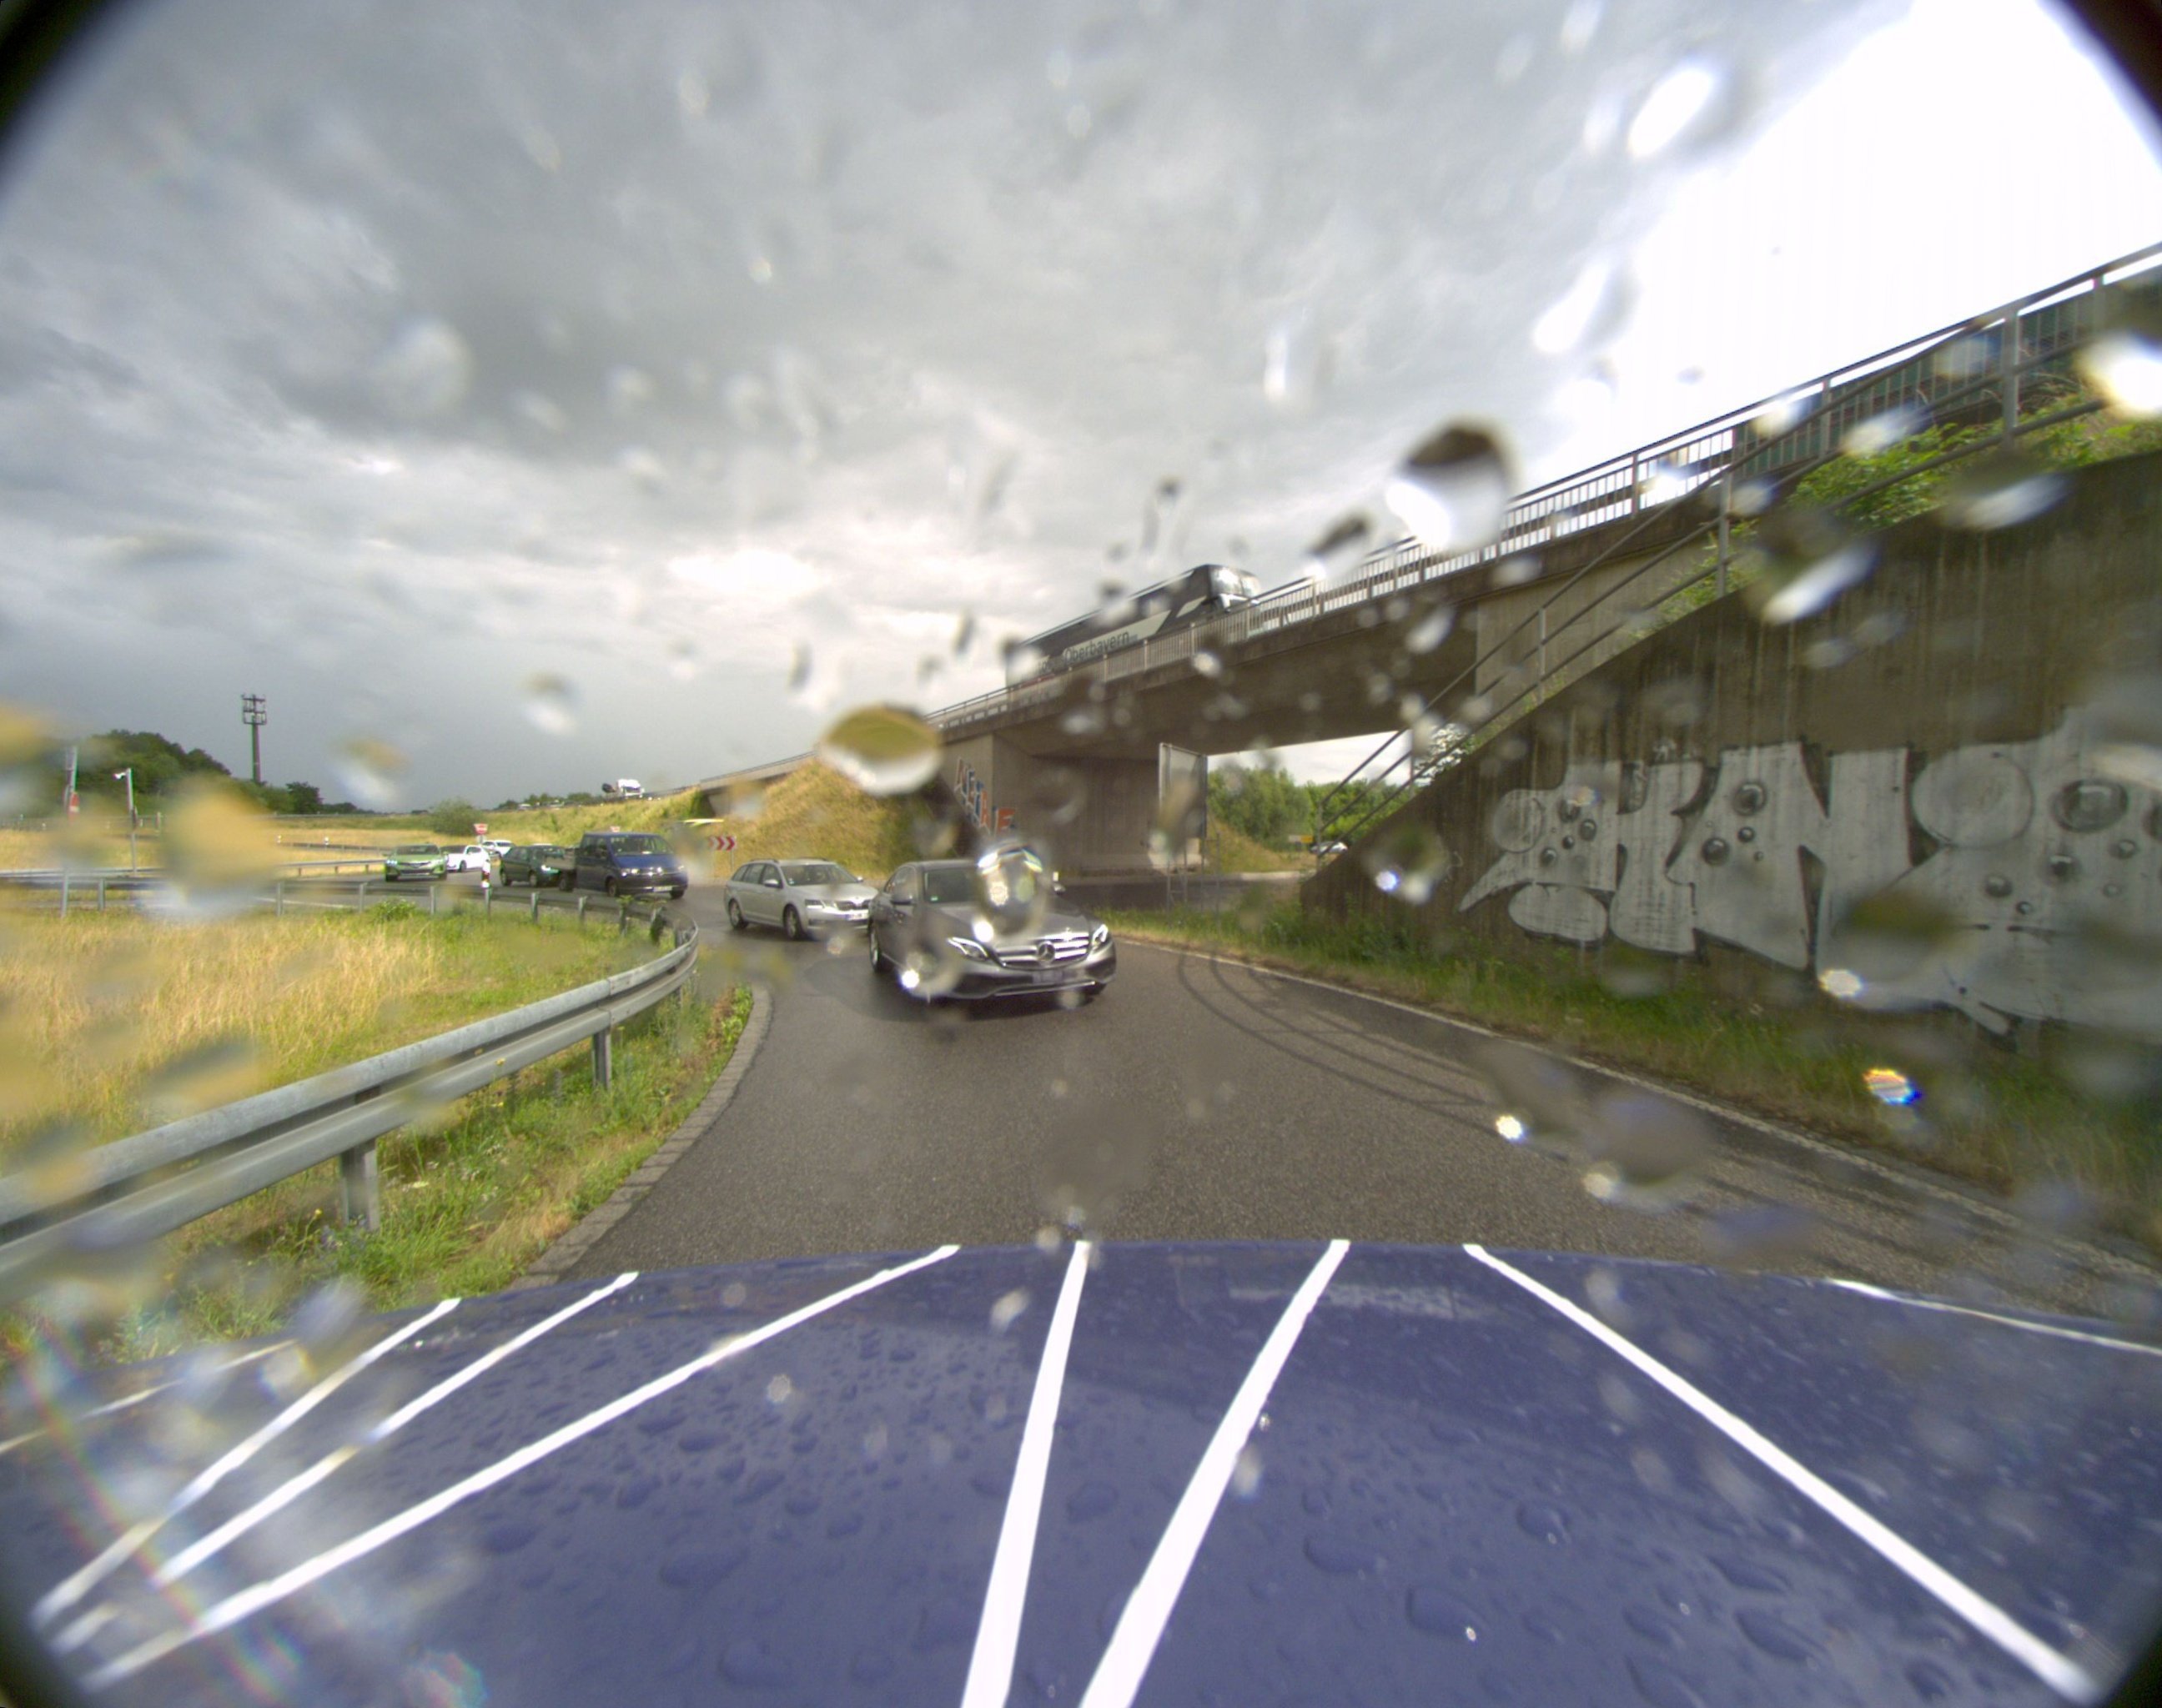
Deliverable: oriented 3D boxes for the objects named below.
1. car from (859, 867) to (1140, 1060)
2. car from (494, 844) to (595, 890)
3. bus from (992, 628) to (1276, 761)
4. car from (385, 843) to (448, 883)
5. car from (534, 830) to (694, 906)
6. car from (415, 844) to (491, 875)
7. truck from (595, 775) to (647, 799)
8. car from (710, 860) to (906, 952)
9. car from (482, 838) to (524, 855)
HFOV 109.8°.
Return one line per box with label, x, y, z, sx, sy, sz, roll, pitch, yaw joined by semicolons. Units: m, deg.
car;-1.238;0.930;8.606;1.774;1.383;4.581;-2;1;-25
car;-18.851;0.403;26.650;3.834;1.466;1.660;1;2;35
bus;1.161;-5.712;30.075;2.617;3.063;14.421;-3;4;-35
car;-26.881;0.313;30.689;3.834;1.466;1.622;2;3;45
car;-13.805;0.298;22.329;5.664;1.904;1.897;3;3;35
car;-32.359;0.235;39.285;1.620;1.466;3.923;0;1;-17
truck;-69.323;-10.026;114.430;9.251;3.177;3.167;2;4;36
car;-5.434;0.879;14.837;4.336;1.391;1.802;1;3;43
car;-45.990;-0.583;60.423;3.762;1.283;1.715;2;2;38
